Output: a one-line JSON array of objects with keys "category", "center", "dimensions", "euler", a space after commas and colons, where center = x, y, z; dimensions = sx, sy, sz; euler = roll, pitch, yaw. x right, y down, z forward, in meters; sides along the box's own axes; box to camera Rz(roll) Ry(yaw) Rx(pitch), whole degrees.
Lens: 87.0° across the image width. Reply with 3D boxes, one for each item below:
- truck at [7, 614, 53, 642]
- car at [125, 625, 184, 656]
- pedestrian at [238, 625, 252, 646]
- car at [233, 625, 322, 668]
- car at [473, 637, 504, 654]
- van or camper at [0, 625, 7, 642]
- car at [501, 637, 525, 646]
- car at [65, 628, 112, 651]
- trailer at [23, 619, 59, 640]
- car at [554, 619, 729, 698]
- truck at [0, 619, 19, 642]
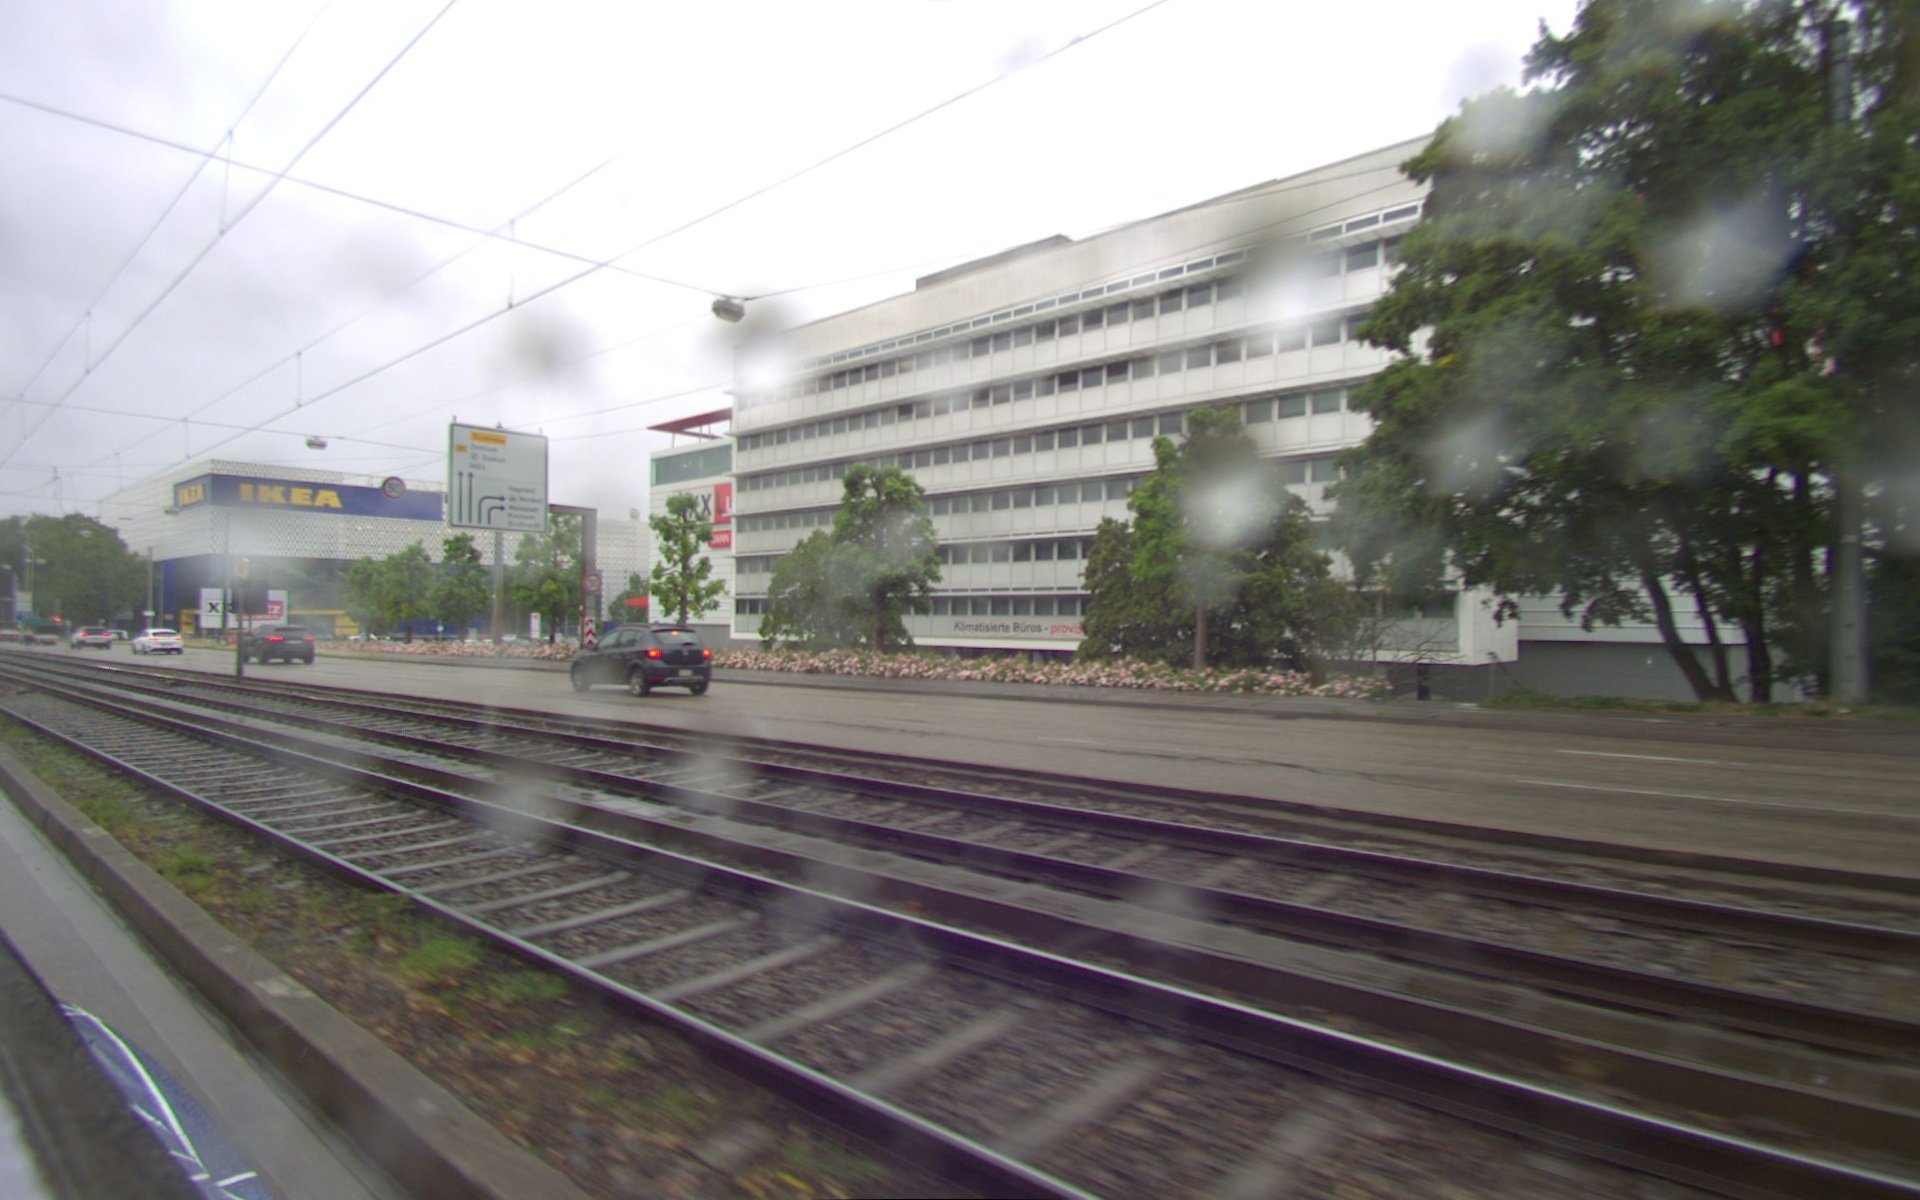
[{"category": "truck", "center": [-86.521, 2.640, 94.088], "dimensions": [7.217, 2.476, 2.409], "euler": [-1, -3, 42]}, {"category": "car", "center": [-46.093, 2.285, 57.880], "dimensions": [4.686, 1.695, 1.753], "euler": [-1, -2, 40]}, {"category": "pedestrian", "center": [-64.691, 3.203, 91.525], "dimensions": [1.050, 1.776, 0.814], "euler": [-1, 1, 43]}, {"category": "car", "center": [-29.235, 1.960, 43.290], "dimensions": [4.879, 1.734, 1.973], "euler": [-2, -3, 41]}, {"category": "car", "center": [-60.827, 5.848, 130.666], "dimensions": [4.086, 2.029, 1.974], "euler": [-1, 0, 38]}, {"category": "van or camper", "center": [-121.769, 4.215, 127.270], "dimensions": [5.684, 2.029, 2.280], "euler": [-1, -2, 42]}, {"category": "car", "center": [-86.867, 8.046, 196.603], "dimensions": [1.602, 1.417, 3.930], "euler": [-1, 0, 43]}, {"category": "car", "center": [-62.703, 2.823, 72.807], "dimensions": [4.765, 1.595, 1.972], "euler": [-2, -3, 42]}, {"category": "trailer", "center": [-82.153, 2.641, 90.487], "dimensions": [3.837, 1.806, 2.096], "euler": [-1, 0, 44]}, {"category": "car", "center": [-7.334, 1.277, 23.106], "dimensions": [4.253, 1.630, 1.972], "euler": [-1, -2, 43]}, {"category": "truck", "center": [-107.892, 3.403, 113.977], "dimensions": [6.064, 2.480, 2.203], "euler": [-1, -4, 42]}]
